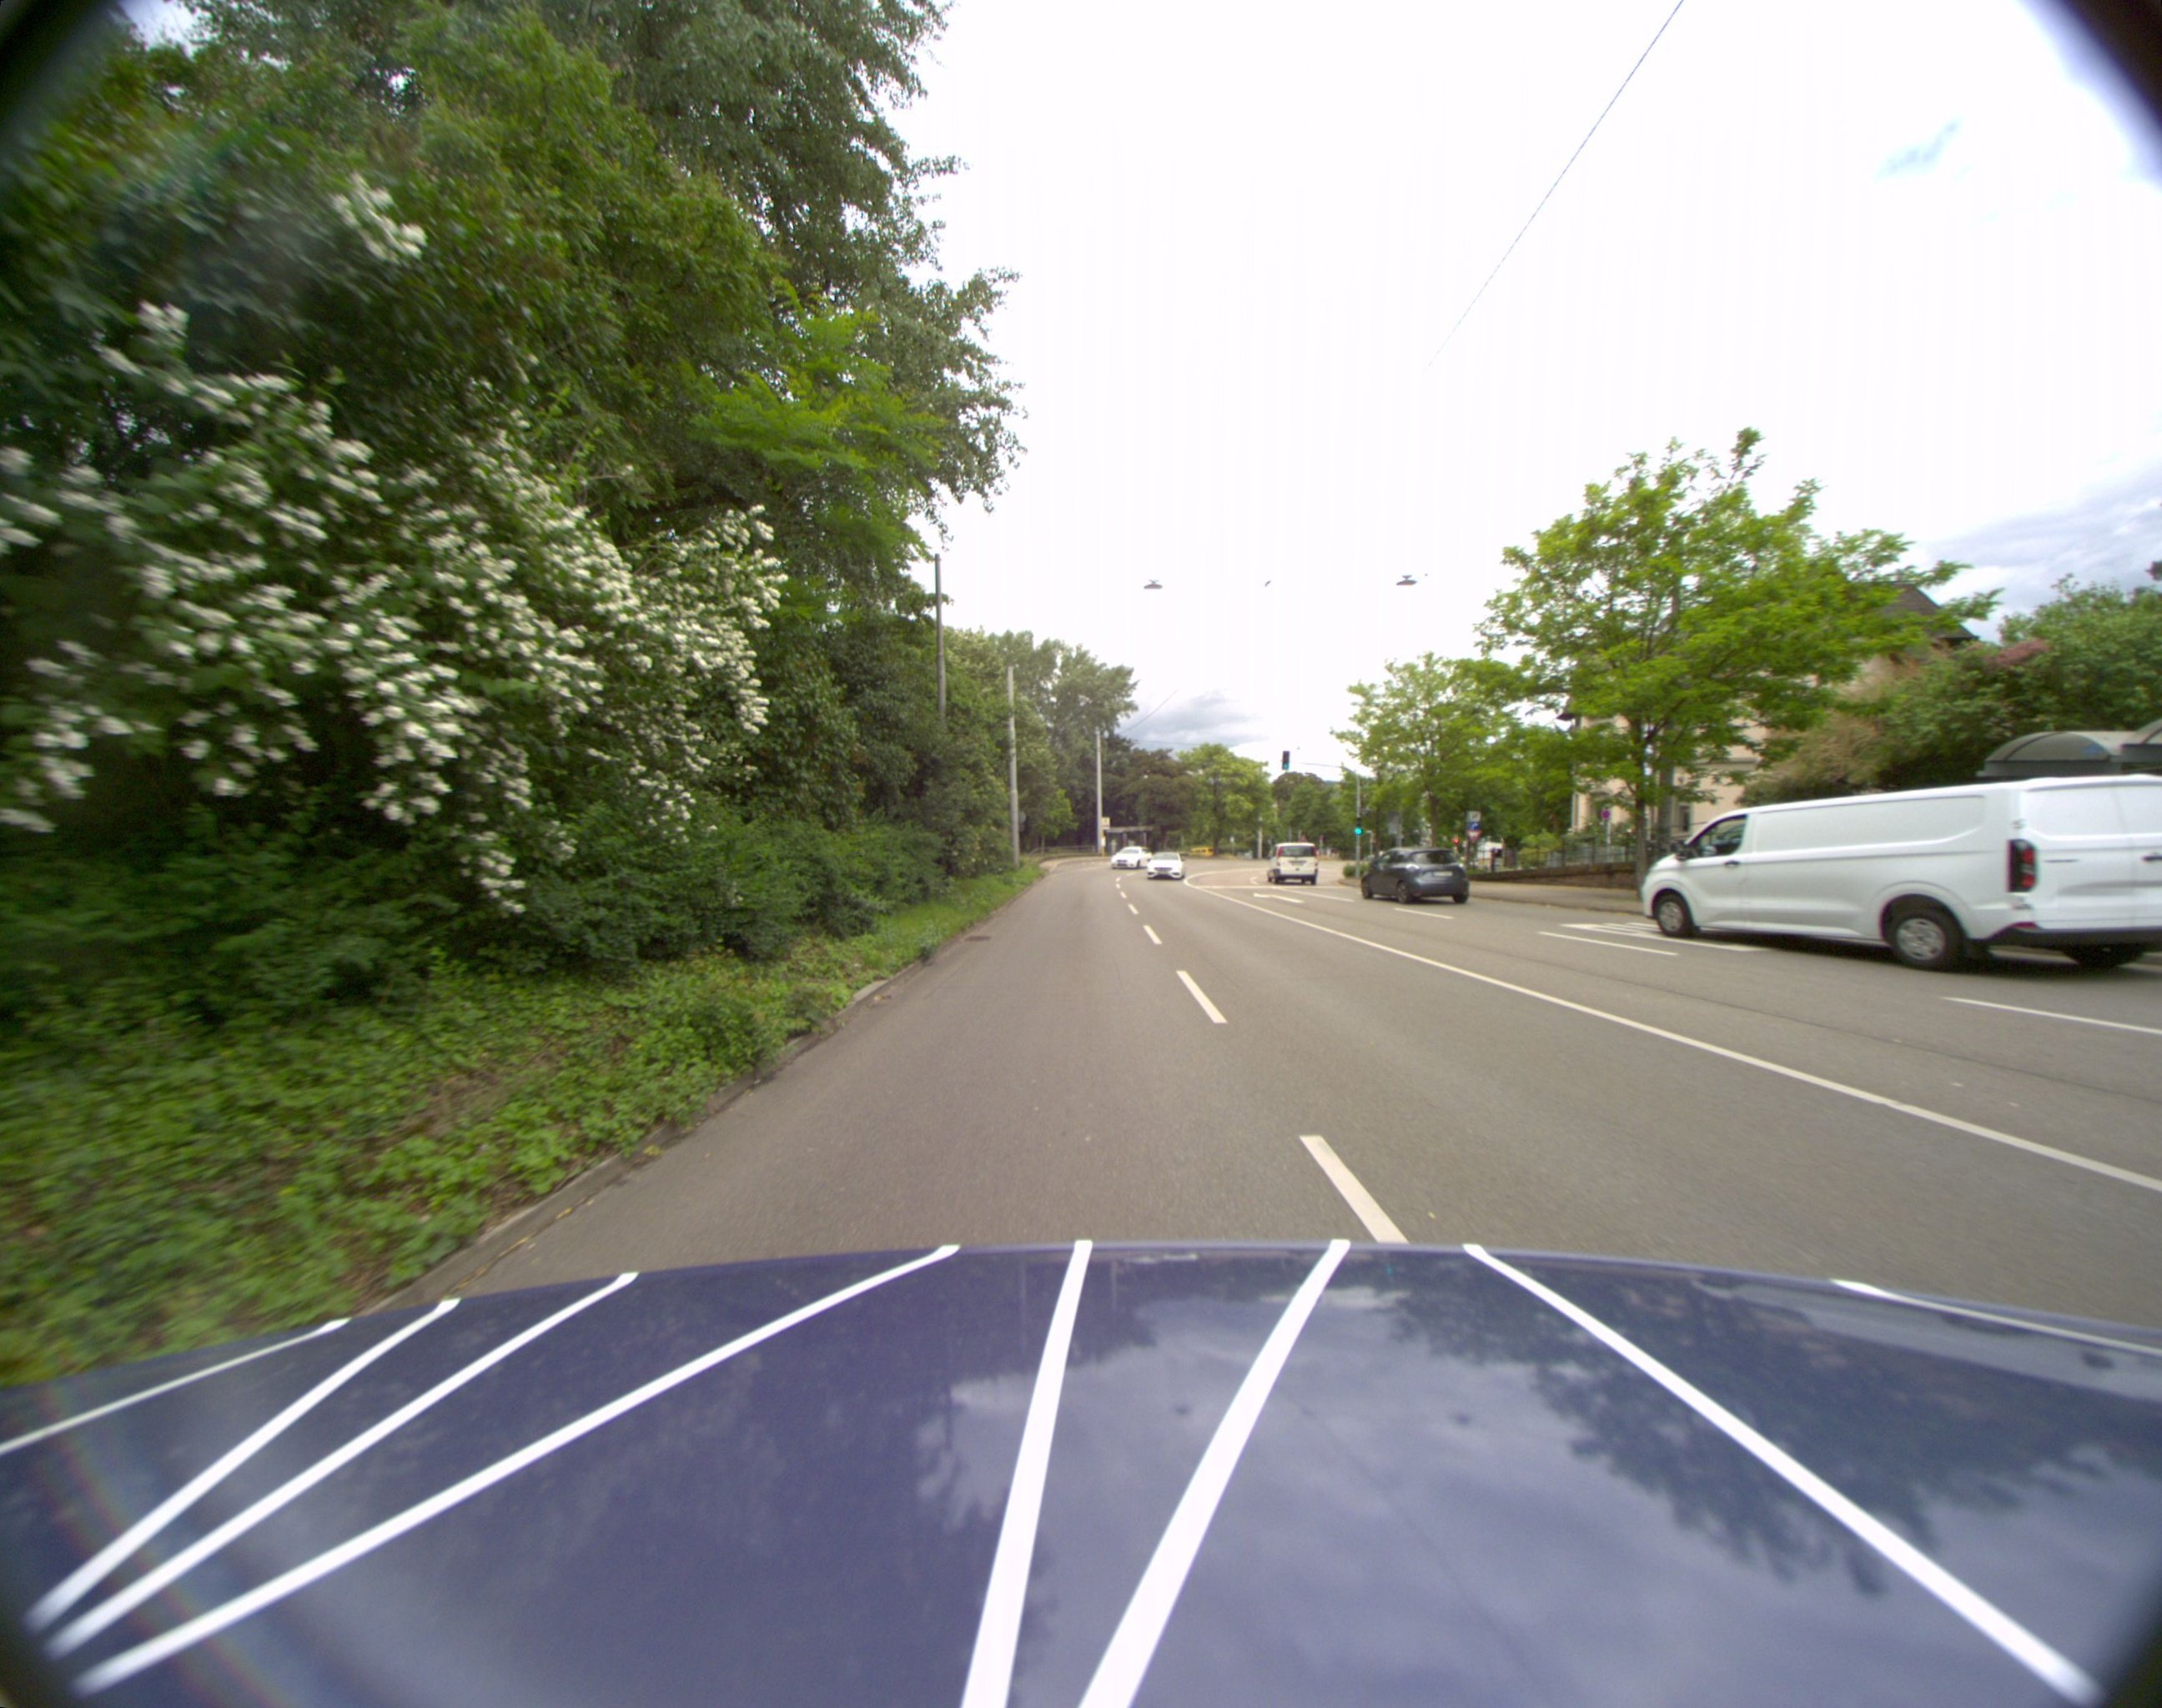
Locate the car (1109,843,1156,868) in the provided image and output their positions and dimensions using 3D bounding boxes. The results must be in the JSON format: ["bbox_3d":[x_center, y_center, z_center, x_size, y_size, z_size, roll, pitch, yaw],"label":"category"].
[{"bbox_3d":[3.620,0.055,52.545,1.913,1.543,4.532,3,3,21],"label":"car"}]

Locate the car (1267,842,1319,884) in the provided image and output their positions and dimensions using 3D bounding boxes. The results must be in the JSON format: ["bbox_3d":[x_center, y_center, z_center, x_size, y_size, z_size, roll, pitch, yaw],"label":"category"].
[{"bbox_3d":[9.938,0.397,35.982,1.797,1.853,4.854,0,0,9],"label":"car"}]

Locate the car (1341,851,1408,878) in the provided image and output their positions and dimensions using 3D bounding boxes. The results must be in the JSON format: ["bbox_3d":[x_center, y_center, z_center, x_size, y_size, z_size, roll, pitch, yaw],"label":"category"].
[{"bbox_3d":[16.344,0.578,42.416,3.132,1.464,1.548,1,1,1],"label":"car"}]

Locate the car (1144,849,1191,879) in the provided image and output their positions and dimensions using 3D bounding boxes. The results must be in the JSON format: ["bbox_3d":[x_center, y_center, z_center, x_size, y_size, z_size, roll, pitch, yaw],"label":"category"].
[{"bbox_3d":[4.703,0.500,40.879,1.914,1.469,4.531,0,1,14],"label":"car"}]

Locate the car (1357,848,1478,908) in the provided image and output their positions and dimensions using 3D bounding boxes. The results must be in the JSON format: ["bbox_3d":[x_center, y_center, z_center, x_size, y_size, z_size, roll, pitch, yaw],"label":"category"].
[{"bbox_3d":[9.319,0.610,21.374,1.698,1.483,3.801,-2,0,0],"label":"car"}]

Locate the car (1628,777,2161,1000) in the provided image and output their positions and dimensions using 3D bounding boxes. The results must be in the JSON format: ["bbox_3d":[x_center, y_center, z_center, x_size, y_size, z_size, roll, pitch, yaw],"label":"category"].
[{"bbox_3d":[9.887,0.323,9.667,1.998,2.002,5.425,-2,0,1],"label":"car"}]
